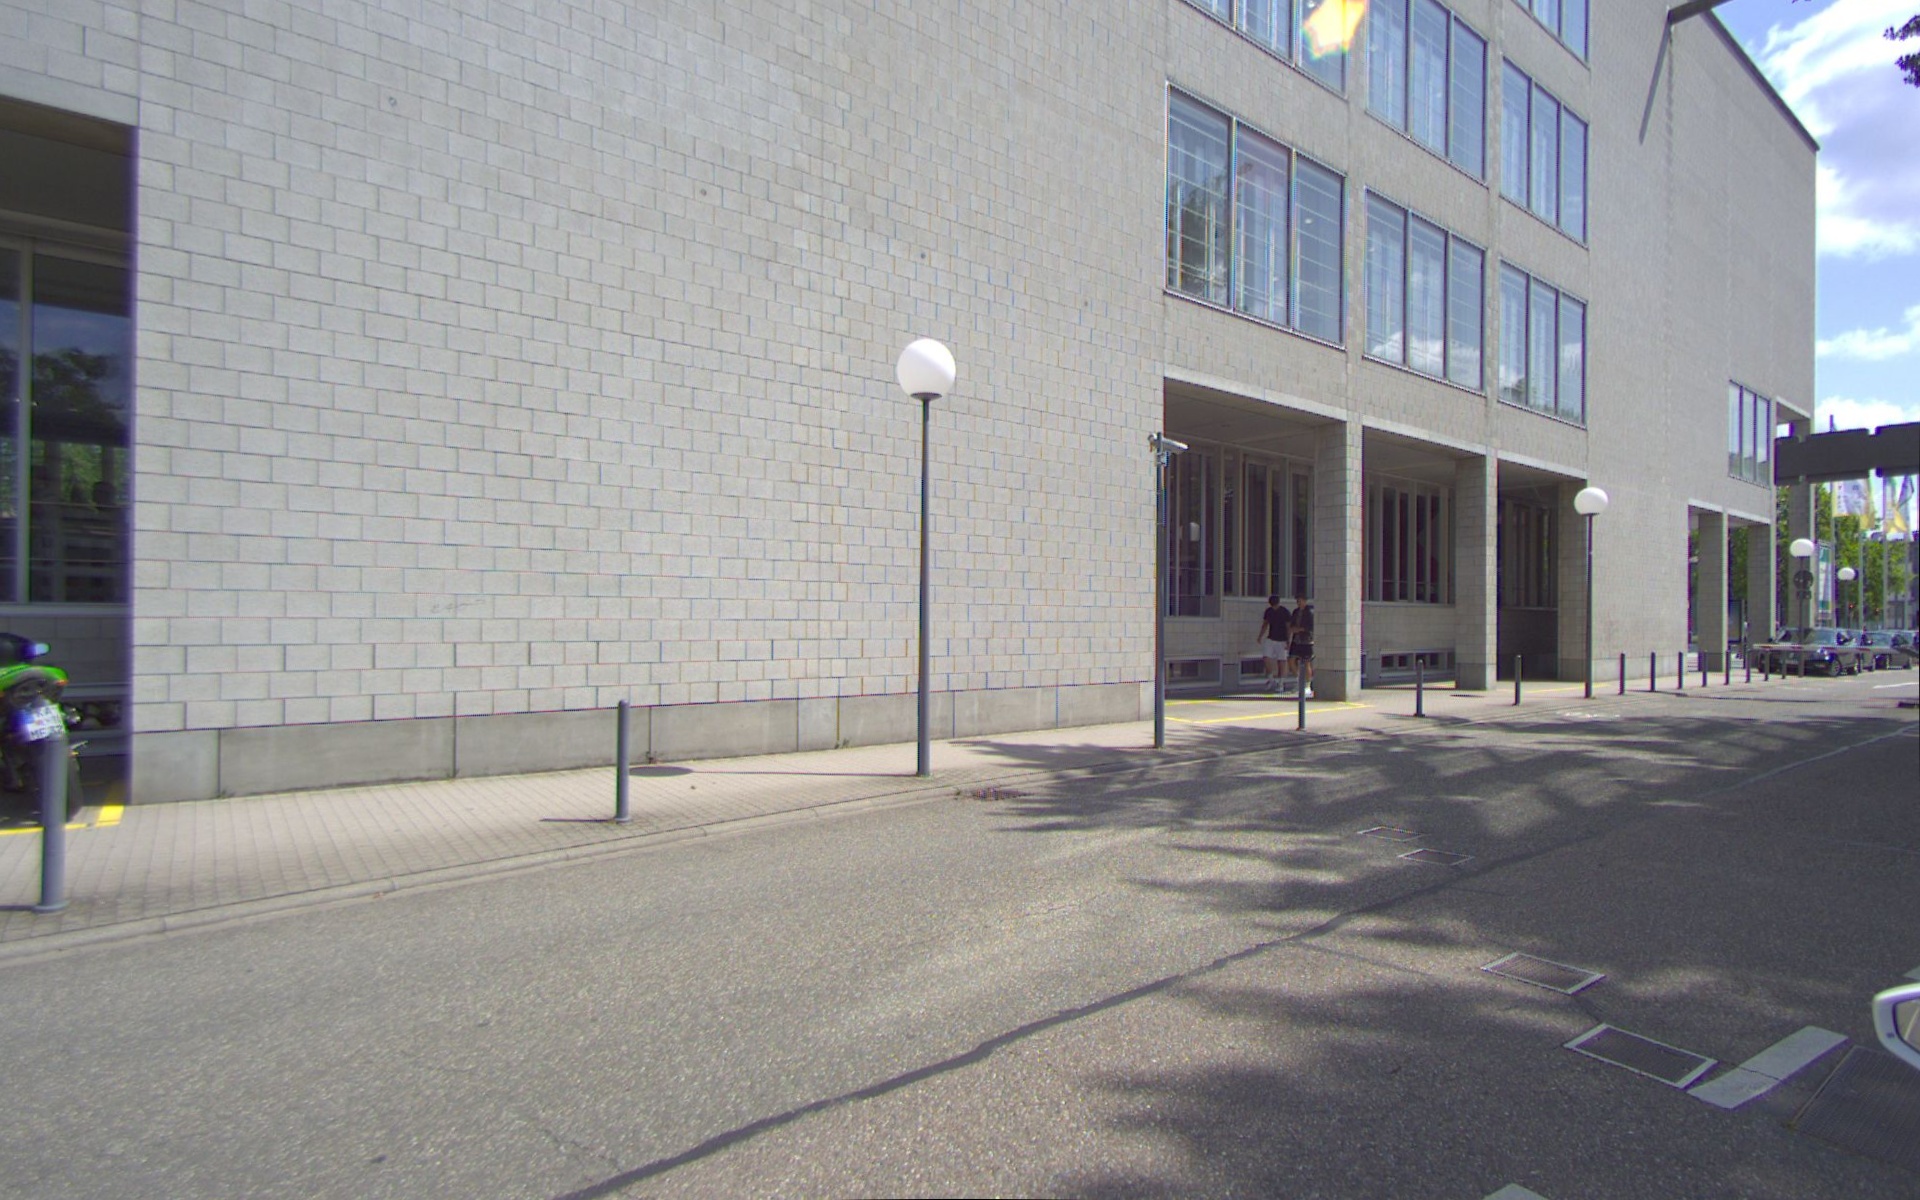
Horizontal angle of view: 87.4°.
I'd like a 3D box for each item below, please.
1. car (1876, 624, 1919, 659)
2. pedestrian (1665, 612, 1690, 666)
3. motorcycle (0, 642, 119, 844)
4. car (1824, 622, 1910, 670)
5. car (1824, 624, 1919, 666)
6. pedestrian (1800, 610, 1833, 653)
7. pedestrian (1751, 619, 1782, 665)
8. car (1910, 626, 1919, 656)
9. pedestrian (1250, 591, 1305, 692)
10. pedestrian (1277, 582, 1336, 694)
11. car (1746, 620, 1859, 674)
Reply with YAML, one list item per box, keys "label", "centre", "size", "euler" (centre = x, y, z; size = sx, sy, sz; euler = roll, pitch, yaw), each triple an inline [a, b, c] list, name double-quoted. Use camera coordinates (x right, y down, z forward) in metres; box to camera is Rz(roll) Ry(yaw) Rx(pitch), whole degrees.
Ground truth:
- label: "car"
  centre: [43.535, 1.872, 46.015]
  size: [3.876, 1.487, 1.663]
  euler: [1, 1, -38]
- label: "pedestrian"
  centre: [33.460, 1.811, 46.850]
  size: [0.729, 2.454, 0.754]
  euler: [1, -1, -30]
- label: "motorcycle"
  centre: [-6.419, 0.891, 6.831]
  size: [2.141, 1.153, 0.771]
  euler: [-1, -1, 42]
- label: "car"
  centre: [31.306, 1.550, 34.638]
  size: [3.675, 1.487, 1.625]
  euler: [1, 1, -39]
- label: "car"
  centre: [34.427, 1.655, 37.840]
  size: [4.970, 1.396, 1.846]
  euler: [1, 1, -37]
- label: "pedestrian"
  centre: [41.381, 1.519, 48.534]
  size: [0.783, 2.054, 0.904]
  euler: [1, -1, -9]
- label: "pedestrian"
  centre: [37.147, 1.923, 46.252]
  size: [1.156, 2.040, 0.975]
  euler: [1, -1, -43]
- label: "car"
  centre: [47.737, 2.004, 48.779]
  size: [4.621, 1.414, 1.663]
  euler: [1, 1, -38]
- label: "pedestrian"
  centre: [6.169, 0.790, 19.496]
  size: [0.713, 1.905, 0.725]
  euler: [1, 0, -38]
- label: "pedestrian"
  centre: [6.501, 0.701, 18.825]
  size: [0.822, 2.040, 0.693]
  euler: [1, 0, -38]
- label: "car"
  centre: [26.578, 1.434, 31.639]
  size: [4.678, 1.487, 1.844]
  euler: [1, 1, -39]
